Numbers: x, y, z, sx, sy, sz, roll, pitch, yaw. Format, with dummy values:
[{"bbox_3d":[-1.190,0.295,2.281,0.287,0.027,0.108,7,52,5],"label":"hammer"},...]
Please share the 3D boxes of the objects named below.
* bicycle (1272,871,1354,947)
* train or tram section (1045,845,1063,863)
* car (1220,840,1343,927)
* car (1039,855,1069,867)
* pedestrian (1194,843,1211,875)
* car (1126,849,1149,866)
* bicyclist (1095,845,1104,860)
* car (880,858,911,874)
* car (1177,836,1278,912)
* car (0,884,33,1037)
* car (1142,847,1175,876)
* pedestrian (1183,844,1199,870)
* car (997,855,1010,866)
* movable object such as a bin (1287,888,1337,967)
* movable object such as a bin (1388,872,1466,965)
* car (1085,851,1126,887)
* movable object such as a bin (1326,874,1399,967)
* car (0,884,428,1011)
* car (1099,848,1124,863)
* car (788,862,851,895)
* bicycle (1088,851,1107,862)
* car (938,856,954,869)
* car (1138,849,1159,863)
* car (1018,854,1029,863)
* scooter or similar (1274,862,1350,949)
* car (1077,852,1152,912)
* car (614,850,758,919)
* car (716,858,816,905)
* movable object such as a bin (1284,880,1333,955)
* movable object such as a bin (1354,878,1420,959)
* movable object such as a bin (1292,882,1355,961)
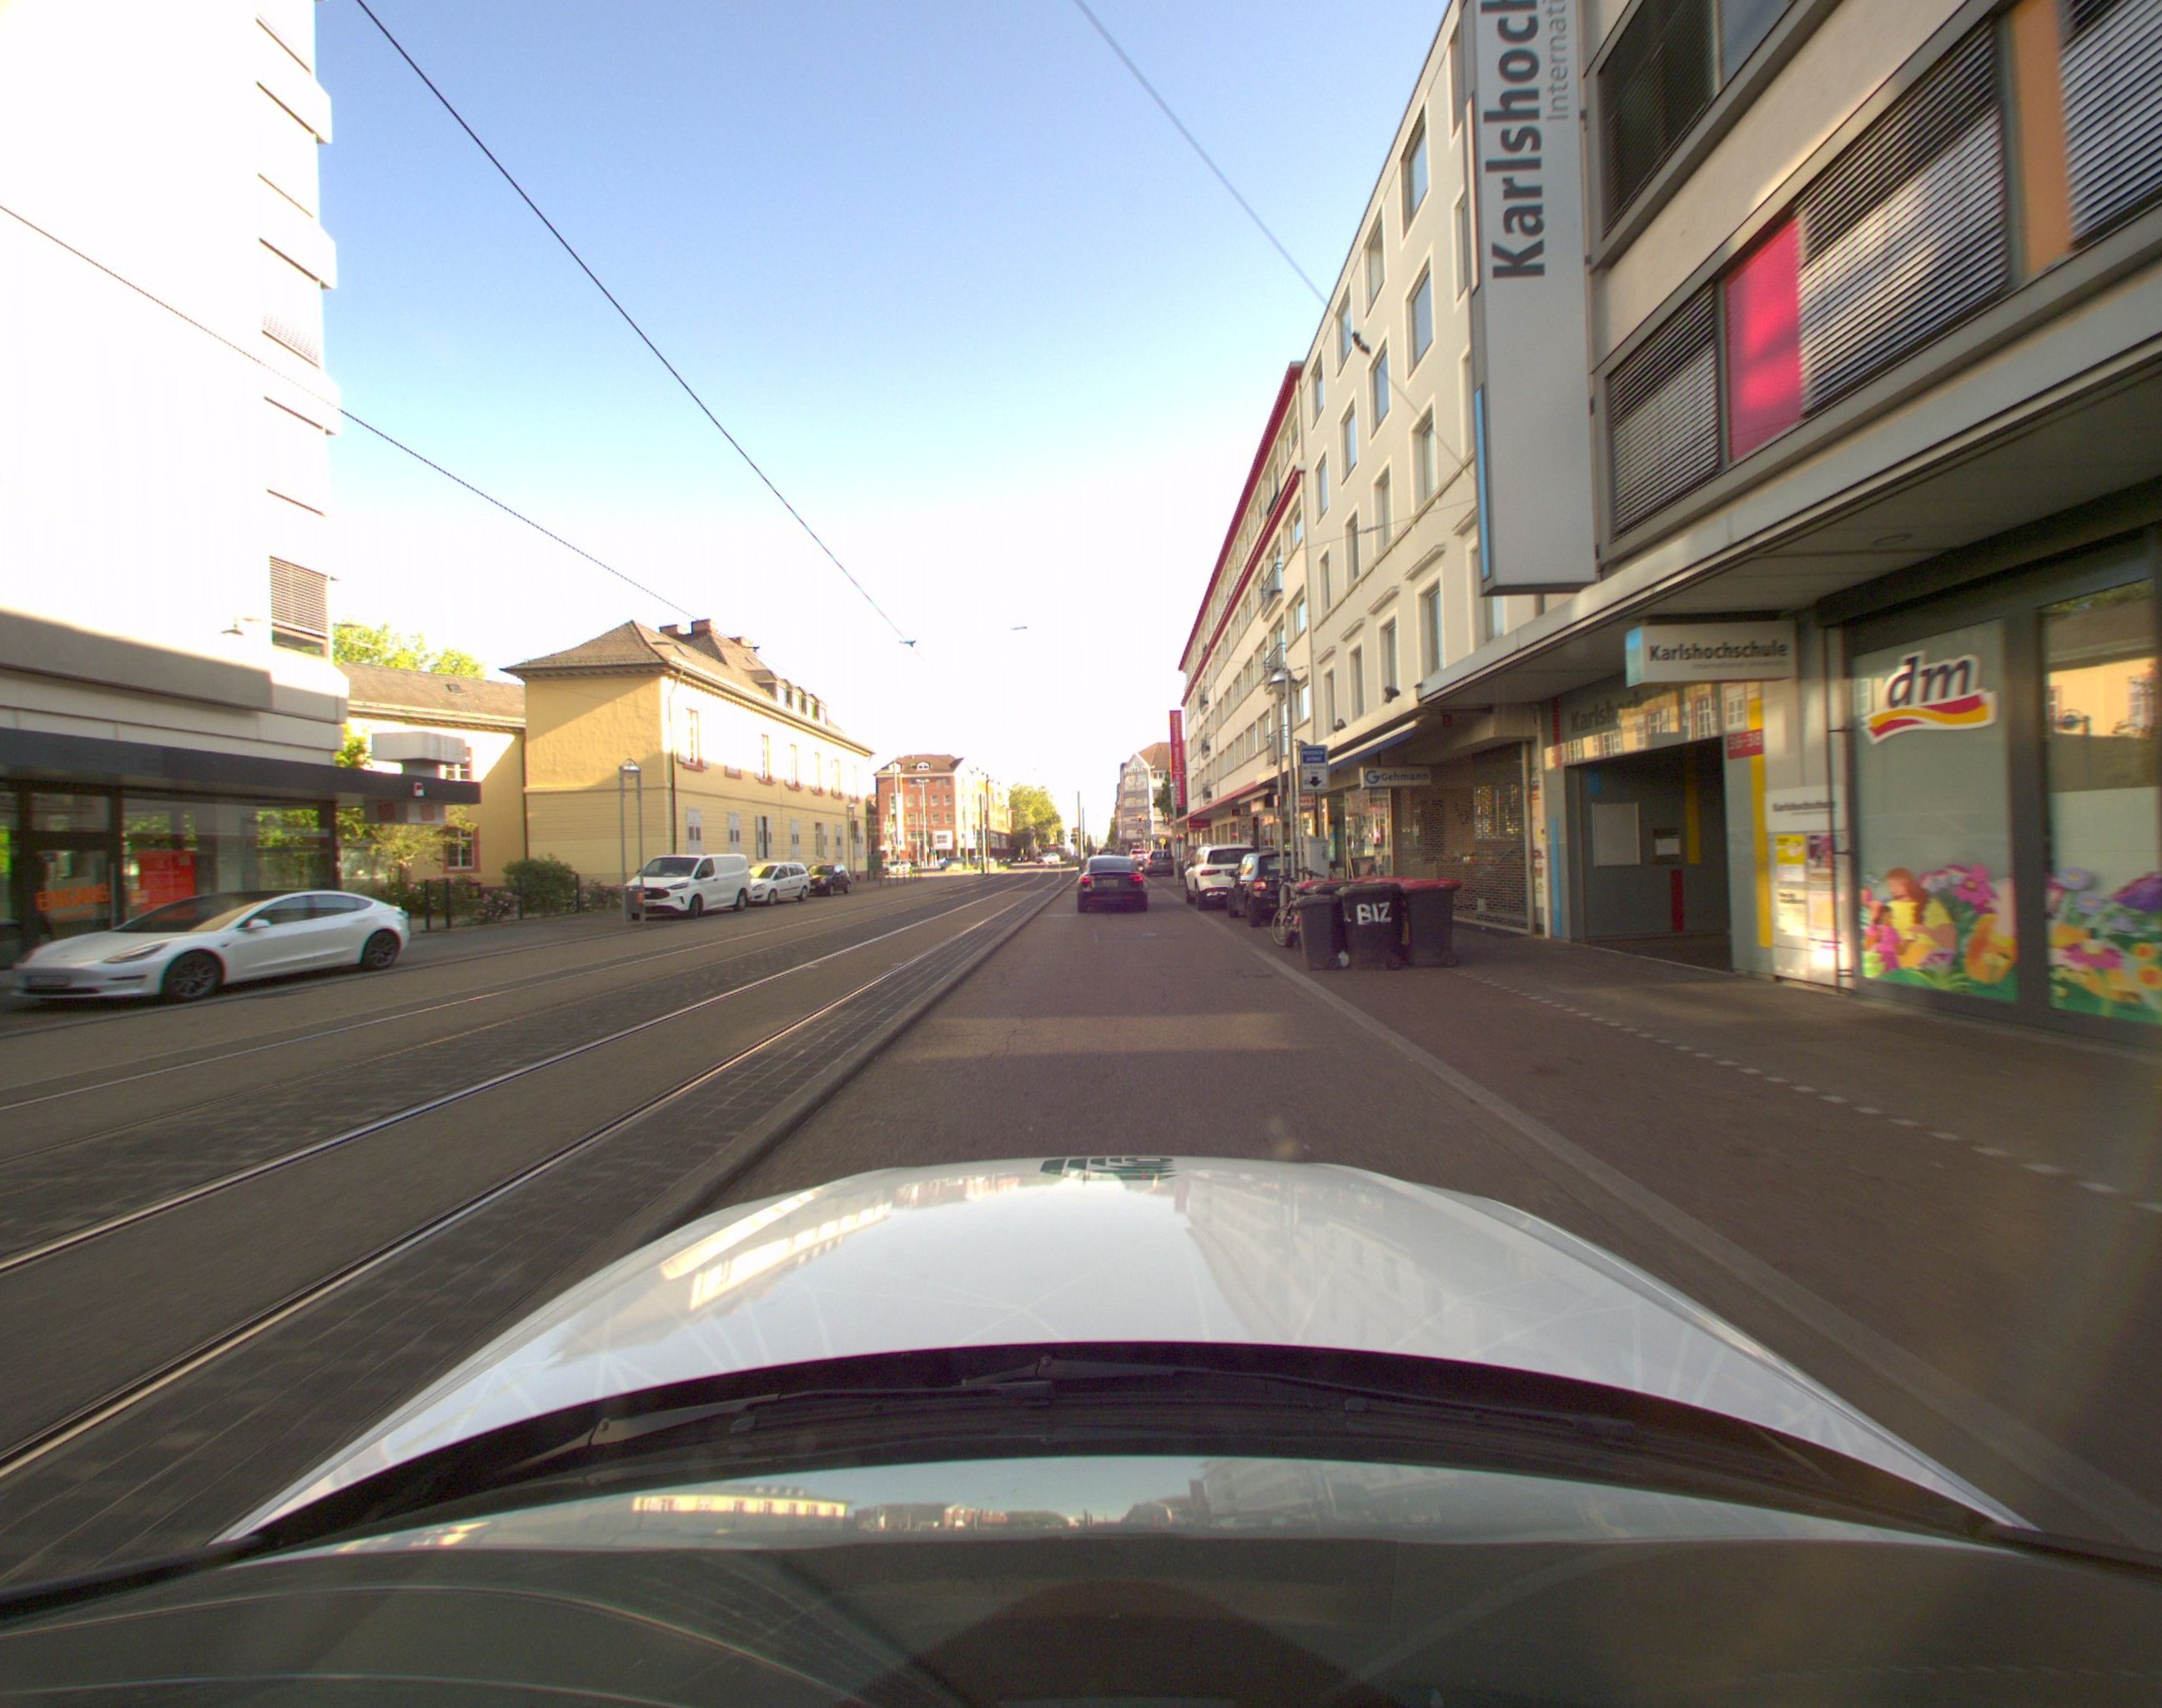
[{"bbox_3d":[3.612,0.850,12.690,1.127,1.079,0.320,-4,-1,0],"label":"bicycle"},{"bbox_3d":[-5.587,0.039,169.952,2.664,3.715,14.200,0,0,2],"label":"train or tram section"},{"bbox_3d":[4.049,0.559,17.101,1.608,1.528,4.071,-3,0,1],"label":"car"},{"bbox_3d":[-3.998,1.031,120.481,4.017,1.739,1.978,-2,0,-36],"label":"car"},{"bbox_3d":[7.020,0.284,46.945,0.797,1.774,0.936,-2,-1,16],"label":"pedestrian"},{"bbox_3d":[5.278,0.342,76.610,1.778,1.519,4.216,0,0,-1],"label":"car"},{"bbox_3d":[1.771,-0.151,78.869,0.835,1.500,0.559,0,-1,-6],"label":"bicyclist"},{"bbox_3d":[-17.780,1.151,78.215,1.895,1.464,4.004,0,0,3],"label":"car"},{"bbox_3d":[3.854,0.488,22.294,1.843,1.724,5.194,-4,0,1],"label":"car"},{"bbox_3d":[-13.022,1.169,6.963,1.971,1.678,4.657,0,0,2],"label":"car"},{"bbox_3d":[4.738,0.442,50.124,1.738,1.632,3.651,-3,0,2],"label":"car"},{"bbox_3d":[7.180,0.224,53.129,0.810,1.683,0.718,0,-1,25],"label":"pedestrian"},{"bbox_3d":[-15.246,1.243,160.735,1.986,2.014,4.002,0,0,2],"label":"car"},{"bbox_3d":[2.956,0.933,10.447,0.485,0.958,0.458,-3,-1,5],"label":"movable object such as a bin"},{"bbox_3d":[4.331,0.789,10.246,0.687,1.089,0.666,-3,-1,5],"label":"movable object such as a bin"},{"bbox_3d":[1.076,0.598,34.864,1.647,1.418,4.003,0,1,3],"label":"car"},{"bbox_3d":[3.548,0.827,10.319,0.687,1.089,0.686,-3,-1,5],"label":"movable object such as a bin"},{"bbox_3d":[-12.897,1.260,12.529,1.882,1.421,4.656,0,0,0],"label":"car"},{"bbox_3d":[3.291,0.176,89.101,1.825,1.519,4.202,0,0,-11],"label":"car"},{"bbox_3d":[-11.940,1.083,37.476,1.608,1.400,3.721,0,0,1],"label":"car"},{"bbox_3d":[1.613,0.264,78.759,1.726,1.088,0.677,0,-1,-6],"label":"bicycle"},{"bbox_3d":[-16.773,1.059,101.071,1.881,1.495,4.912,-2,0,-11],"label":"car"},{"bbox_3d":[7.419,0.246,89.961,1.820,1.519,3.645,0,0,-3],"label":"car"},{"bbox_3d":[-11.483,0.876,163.400,1.744,1.651,4.002,0,0,2],"label":"car"},{"bbox_3d":[3.481,0.772,12.321,0.989,1.231,0.320,-4,-1,0],"label":"scooter or similar"},{"bbox_3d":[0.851,0.698,22.043,1.842,1.484,3.787,0,0,1],"label":"car"},{"bbox_3d":[-12.388,0.899,25.997,1.986,1.975,5.098,0,0,1],"label":"car"},{"bbox_3d":[-12.190,1.017,31.864,1.799,1.685,4.654,0,0,4],"label":"car"},{"bbox_3d":[3.268,0.896,11.757,0.520,1.014,0.672,-2,0,4],"label":"movable object such as a bin"},{"bbox_3d":[4.121,0.859,11.007,0.655,1.014,0.637,-2,0,4],"label":"movable object such as a bin"},{"bbox_3d":[3.287,0.909,11.080,0.683,1.014,0.509,-2,-1,4],"label":"movable object such as a bin"}]
